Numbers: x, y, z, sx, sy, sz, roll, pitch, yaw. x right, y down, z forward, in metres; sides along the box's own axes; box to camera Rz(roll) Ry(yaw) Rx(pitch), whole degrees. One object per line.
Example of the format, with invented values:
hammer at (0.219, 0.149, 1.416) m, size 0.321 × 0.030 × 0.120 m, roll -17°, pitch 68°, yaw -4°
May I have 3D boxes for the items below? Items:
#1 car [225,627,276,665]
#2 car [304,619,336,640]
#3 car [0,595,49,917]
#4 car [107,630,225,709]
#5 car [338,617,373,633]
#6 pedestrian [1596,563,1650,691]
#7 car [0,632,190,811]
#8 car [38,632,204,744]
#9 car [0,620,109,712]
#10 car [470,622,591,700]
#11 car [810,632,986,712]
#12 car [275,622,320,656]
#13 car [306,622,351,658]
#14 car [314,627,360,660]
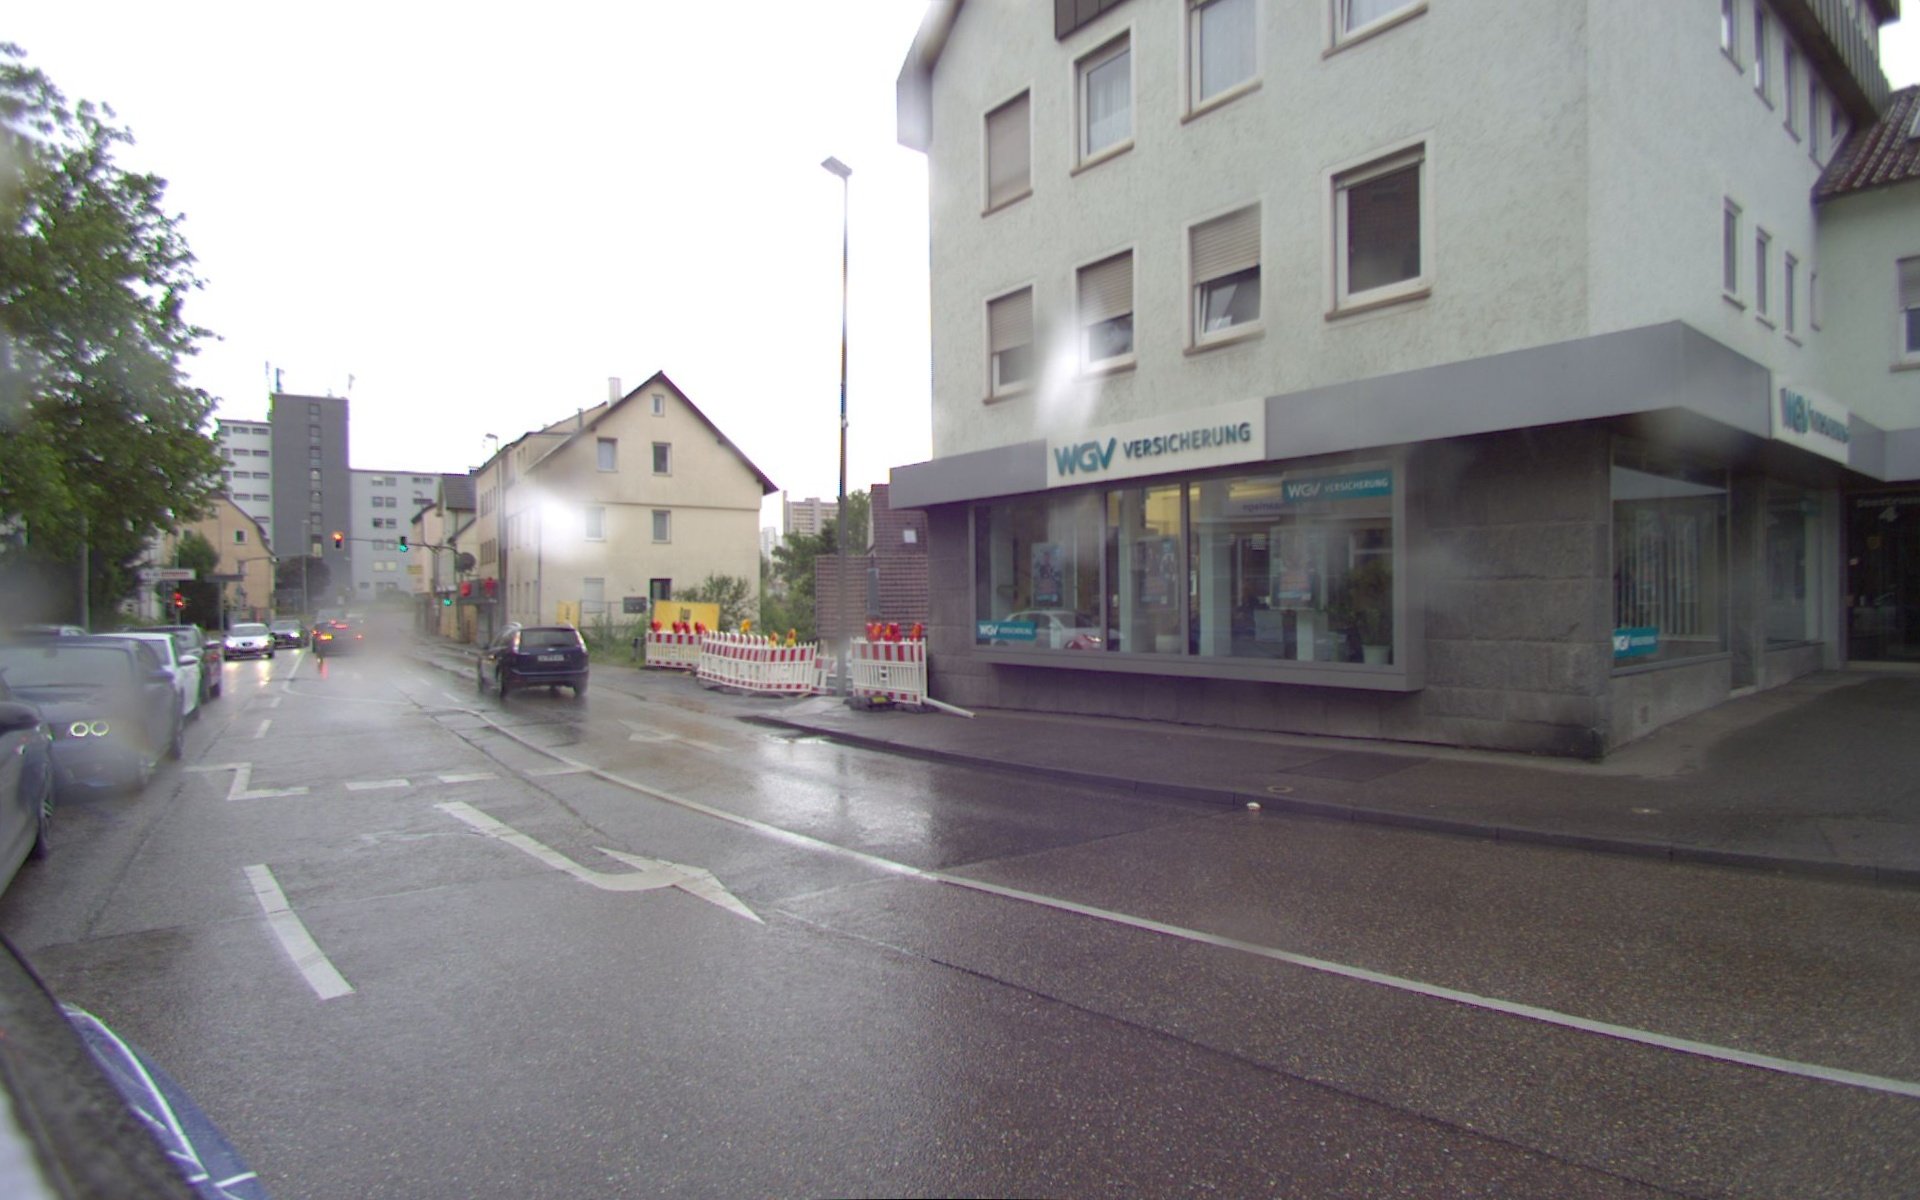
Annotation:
car at (-31.187, 1.980, 44.560) m, size 1.589 × 1.515 × 3.728 m, roll -2°, pitch 0°, yaw -32°
car at (-51.262, 2.346, 81.117) m, size 1.763 × 1.577 × 3.848 m, roll -1°, pitch -1°, yaw -26°
car at (-5.691, 0.792, 4.747) m, size 1.792 × 1.583 × 4.284 m, roll -1°, pitch -1°, yaw -38°
car at (-16.878, 1.400, 21.663) m, size 1.659 × 1.472 × 4.011 m, roll -1°, pitch -1°, yaw -34°
car at (-59.795, 2.460, 100.088) m, size 1.712 × 1.577 × 3.843 m, roll -1°, pitch -1°, yaw -10°
pedestrian at (8.071, 0.326, 12.321) m, size 0.352 × 1.519 × 0.426 m, roll -2°, pitch -1°, yaw -41°
car at (-8.737, 1.042, 9.892) m, size 1.615 × 1.443 × 3.816 m, roll 1°, pitch -2°, yaw -33°
car at (-12.823, 1.239, 15.679) m, size 1.660 × 1.432 × 4.010 m, roll -1°, pitch -1°, yaw -35°
car at (-20.079, 1.358, 21.762) m, size 1.904 × 1.794 × 4.748 m, roll 0°, pitch -2°, yaw -30°
car at (-9.381, 1.269, 21.905) m, size 1.708 × 1.522 × 4.285 m, roll 1°, pitch -2°, yaw -33°
car at (-1.281, 1.591, 21.809) m, size 3.456 × 1.401 × 1.653 m, roll 10°, pitch -9°, yaw -41°
car at (-38.428, 2.233, 58.768) m, size 1.763 × 1.866 × 3.847 m, roll -1°, pitch -1°, yaw -28°
car at (-31.947, 2.000, 51.150) m, size 1.791 × 1.657 × 4.287 m, roll -1°, pitch -1°, yaw -34°
car at (-28.305, 1.933, 45.933) m, size 1.684 × 1.394 × 3.679 m, roll -1°, pitch -1°, yaw -33°
